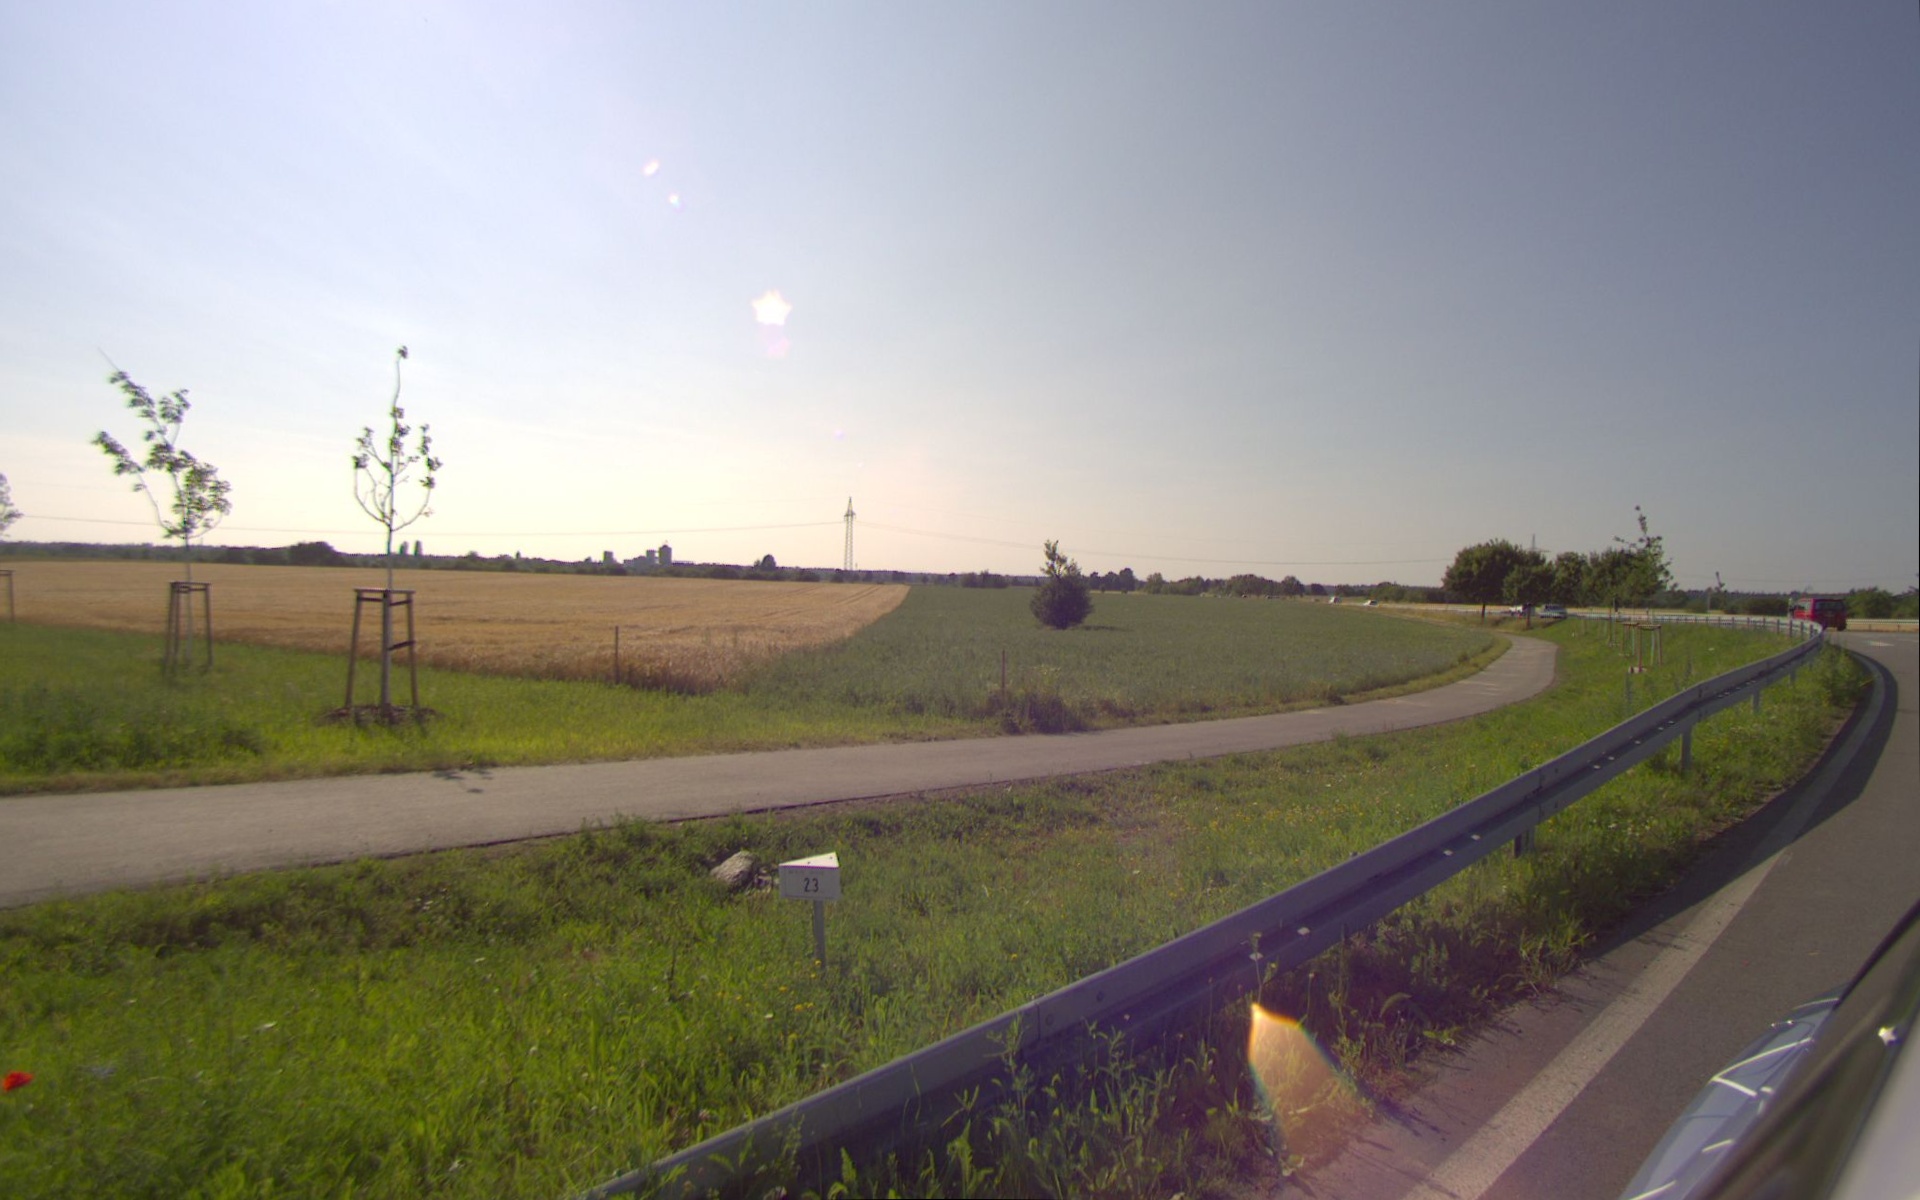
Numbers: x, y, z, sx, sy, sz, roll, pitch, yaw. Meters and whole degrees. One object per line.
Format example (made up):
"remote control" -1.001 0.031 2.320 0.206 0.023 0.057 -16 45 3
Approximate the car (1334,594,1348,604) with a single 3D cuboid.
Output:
"car" 86.117 -0.319 228.893 2.089 2.040 5.132 0 -2 12

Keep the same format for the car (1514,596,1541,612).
"car" 72.769 0.463 129.772 1.671 1.693 4.849 -1 3 12

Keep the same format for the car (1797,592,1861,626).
"car" 54.017 0.550 62.989 1.821 1.965 4.881 1 0 26

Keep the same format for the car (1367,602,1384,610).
"car" 81.426 1.175 198.491 2.088 1.512 5.133 0 -2 11
